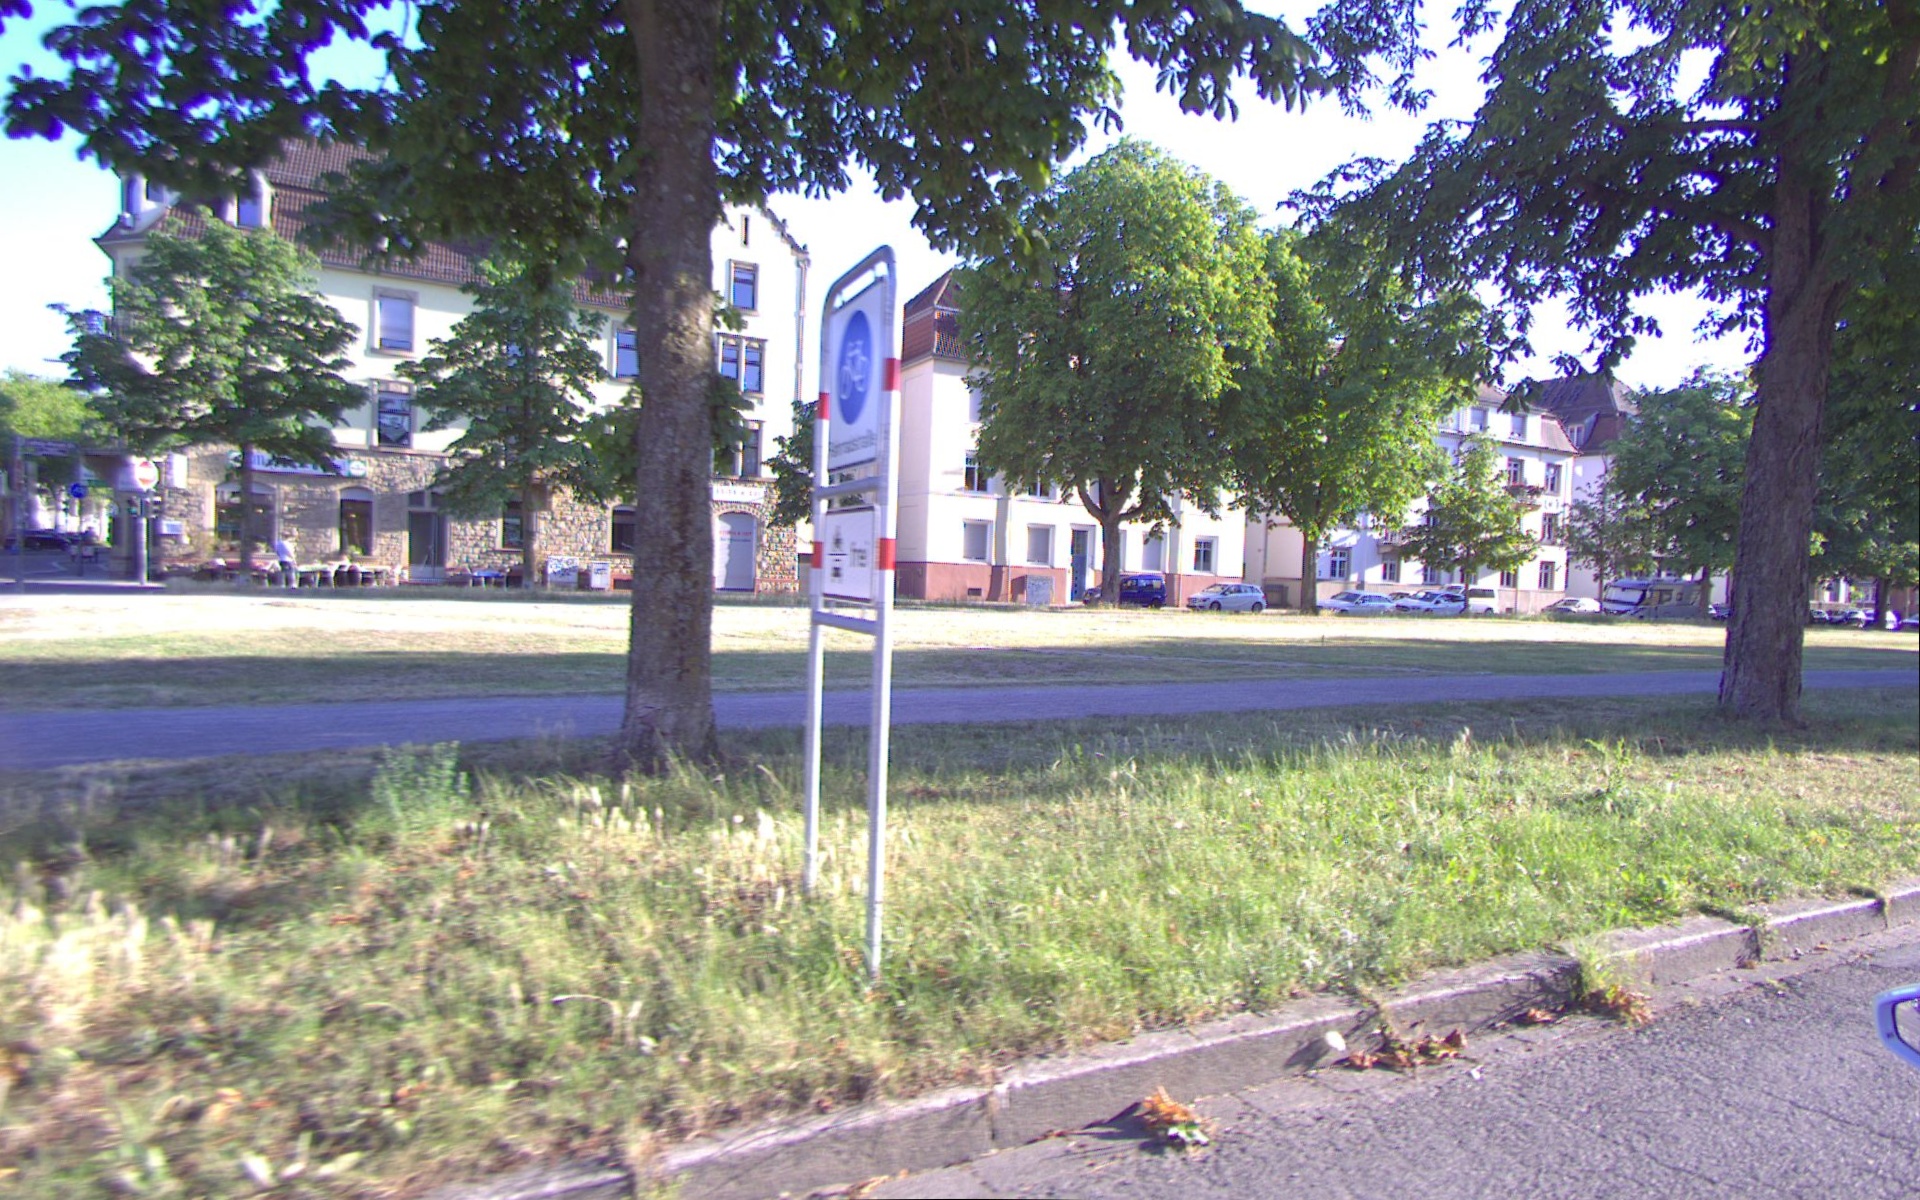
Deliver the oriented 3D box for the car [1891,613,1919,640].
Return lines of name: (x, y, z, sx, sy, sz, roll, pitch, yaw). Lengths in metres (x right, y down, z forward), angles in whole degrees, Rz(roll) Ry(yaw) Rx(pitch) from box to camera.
car: (72.394, 2.055, 75.735, 4.068, 1.805, 1.805, 3, 4, -26)

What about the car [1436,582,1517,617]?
car: (31.514, -0.025, 61.224, 4.817, 1.976, 1.985, 1, 2, -28)

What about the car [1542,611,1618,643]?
car: (40.239, 1.761, 65.167, 4.510, 1.681, 1.987, 3, 4, -26)

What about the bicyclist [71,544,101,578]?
bicyclist: (-47.022, -2.086, 54.049, 0.862, 1.746, 1.142, 2, 1, -22)

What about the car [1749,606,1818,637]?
car: (54.596, 1.427, 66.601, 4.259, 1.696, 1.872, 3, 4, -27)

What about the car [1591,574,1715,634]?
car: (41.026, 0.276, 59.434, 7.751, 3.173, 2.383, 2, 5, -27)

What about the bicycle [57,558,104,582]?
bicycle: (-46.856, -1.609, 53.568, 0.862, 1.177, 3.067, 3, 1, -22)

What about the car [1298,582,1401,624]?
car: (18.669, 0.135, 48.145, 4.510, 1.681, 1.987, 3, 4, -26)

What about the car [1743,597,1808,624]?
car: (61.349, 0.821, 75.561, 4.316, 1.681, 1.987, 3, 4, -26)

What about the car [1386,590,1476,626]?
car: (23.769, 0.393, 50.645, 4.365, 1.575, 1.788, 1, 5, -29)

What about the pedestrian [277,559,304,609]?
pedestrian: (-23.215, -0.556, 34.837, 0.674, 1.646, 0.613, 2, 4, -29)

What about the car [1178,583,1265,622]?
car: (13.515, 0.150, 51.927, 3.947, 1.681, 1.987, 3, 4, -25)

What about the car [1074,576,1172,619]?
car: (7.987, -0.142, 49.235, 4.254, 1.759, 1.987, 3, 4, -25)
